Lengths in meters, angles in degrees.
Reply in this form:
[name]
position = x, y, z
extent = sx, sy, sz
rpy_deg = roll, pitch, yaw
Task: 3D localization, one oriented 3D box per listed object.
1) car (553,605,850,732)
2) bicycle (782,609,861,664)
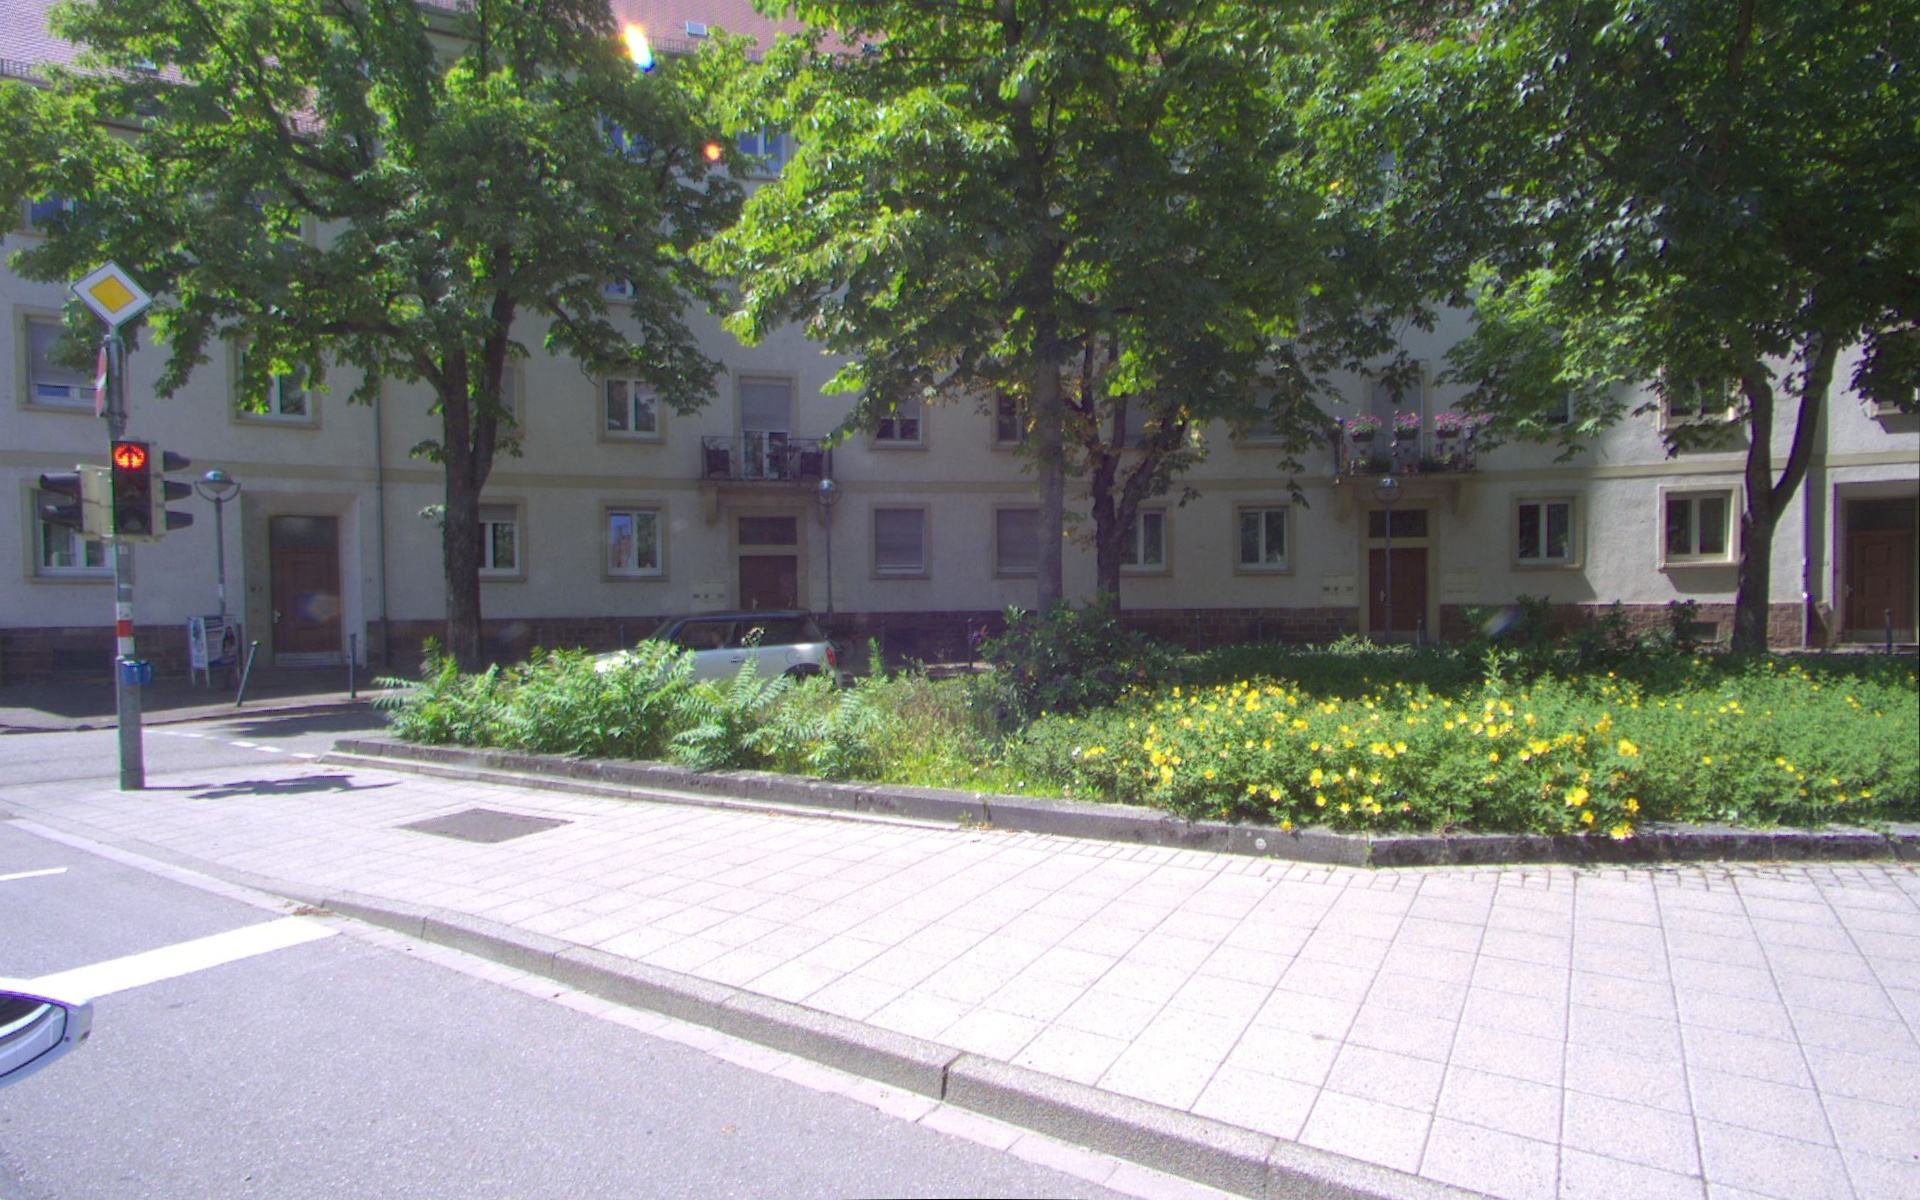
[car]
position = -3.370, 0.840, 13.332
extent = 3.586, 1.526, 1.703
rpy_deg = 0, 0, -14
[bicycle]
position = -2.881, 0.757, 20.875
extent = 1.575, 1.119, 0.525
rpy_deg = -1, 1, -4
